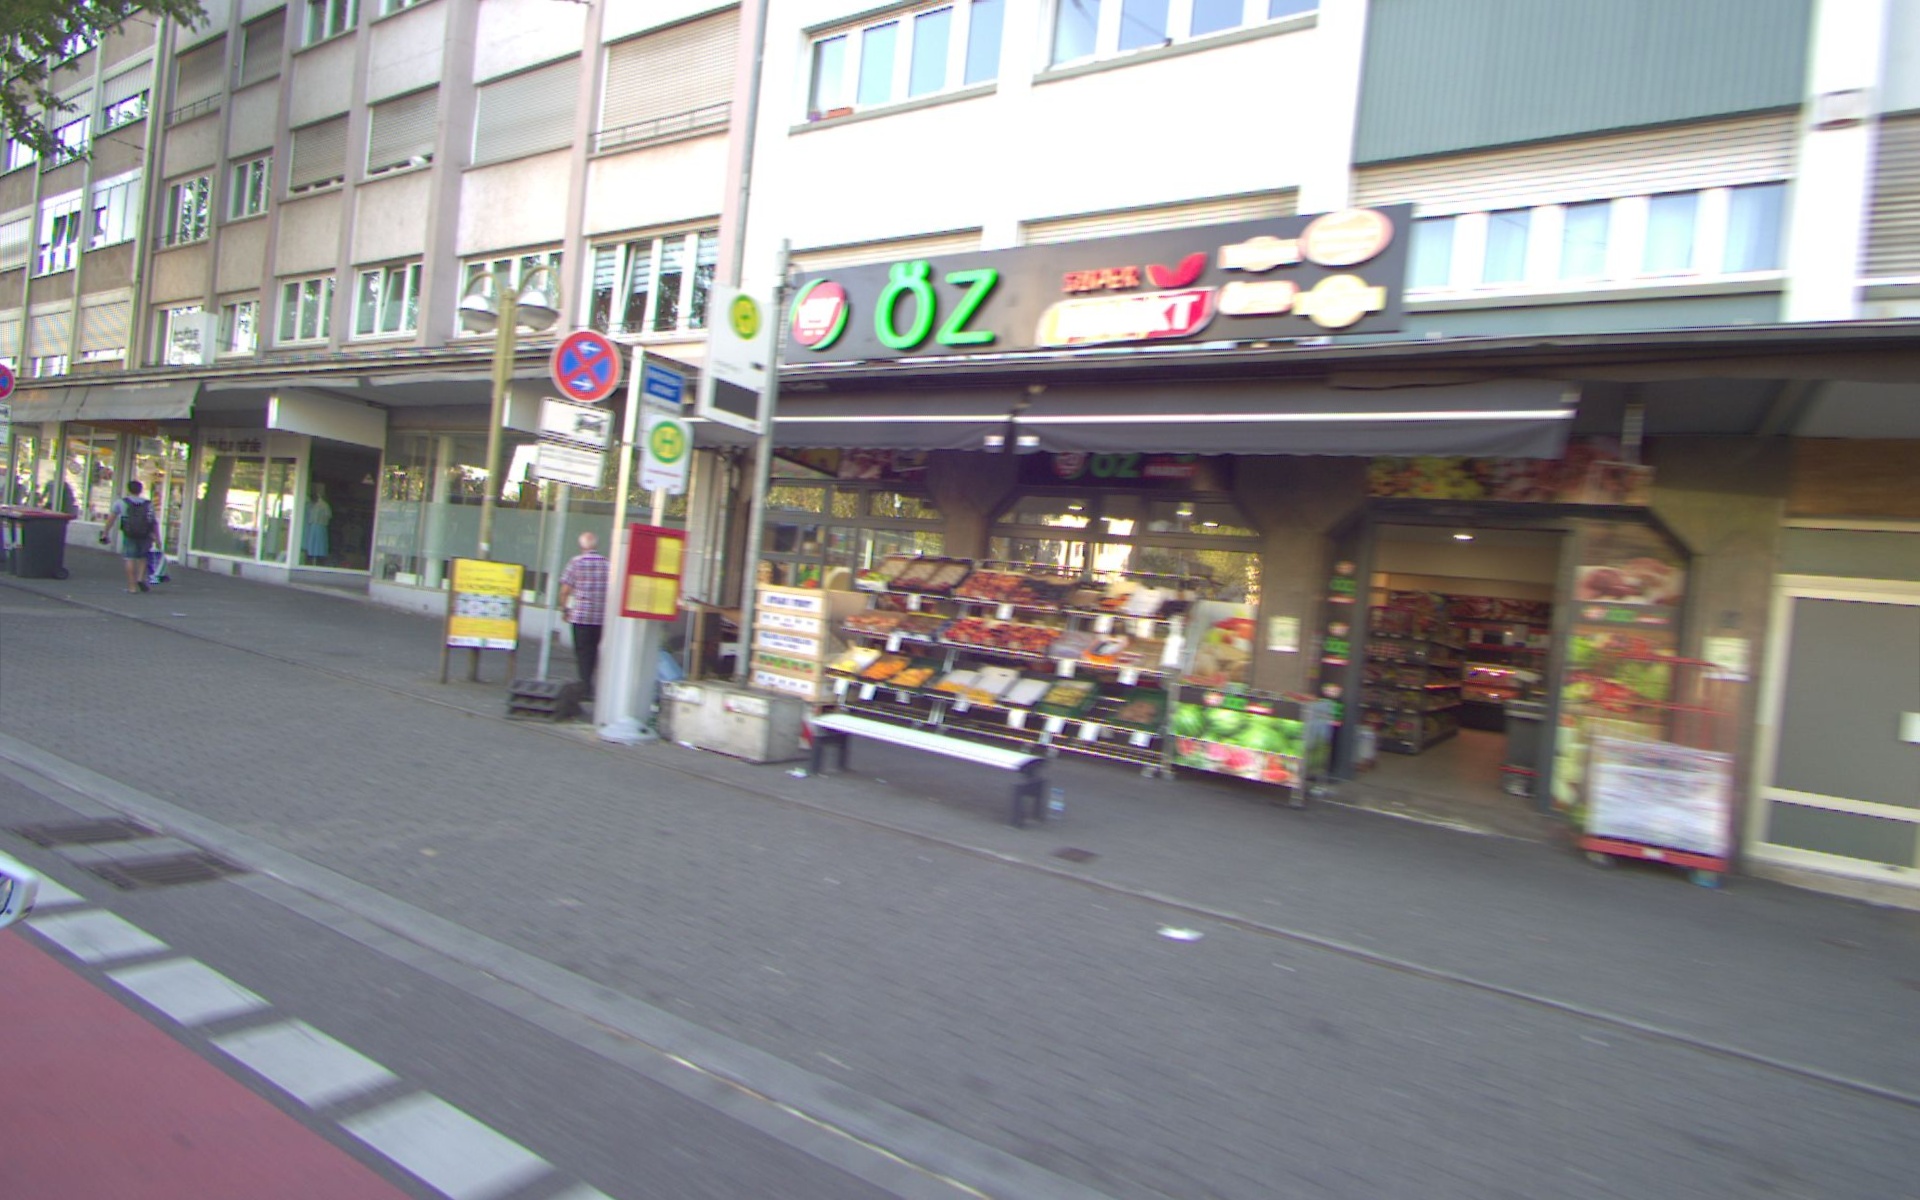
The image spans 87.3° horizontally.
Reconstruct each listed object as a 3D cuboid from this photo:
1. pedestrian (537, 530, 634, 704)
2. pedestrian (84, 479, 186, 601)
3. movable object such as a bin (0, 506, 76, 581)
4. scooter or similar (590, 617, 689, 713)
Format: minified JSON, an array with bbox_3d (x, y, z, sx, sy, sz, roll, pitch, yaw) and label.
[{"bbox_3d":[-3.830,0.171,10.277,0.642,1.694,0.550,6,1,-37],"label":"pedestrian"},{"bbox_3d":[-12.385,-0.899,15.107,0.973,1.695,0.843,7,3,31],"label":"pedestrian"},{"bbox_3d":[-14.889,-0.910,16.175,1.207,1.090,0.674,7,3,32],"label":"movable object such as a bin"},{"bbox_3d":[-3.197,0.646,10.029,0.723,0.854,0.574,7,0,41],"label":"scooter or similar"}]
